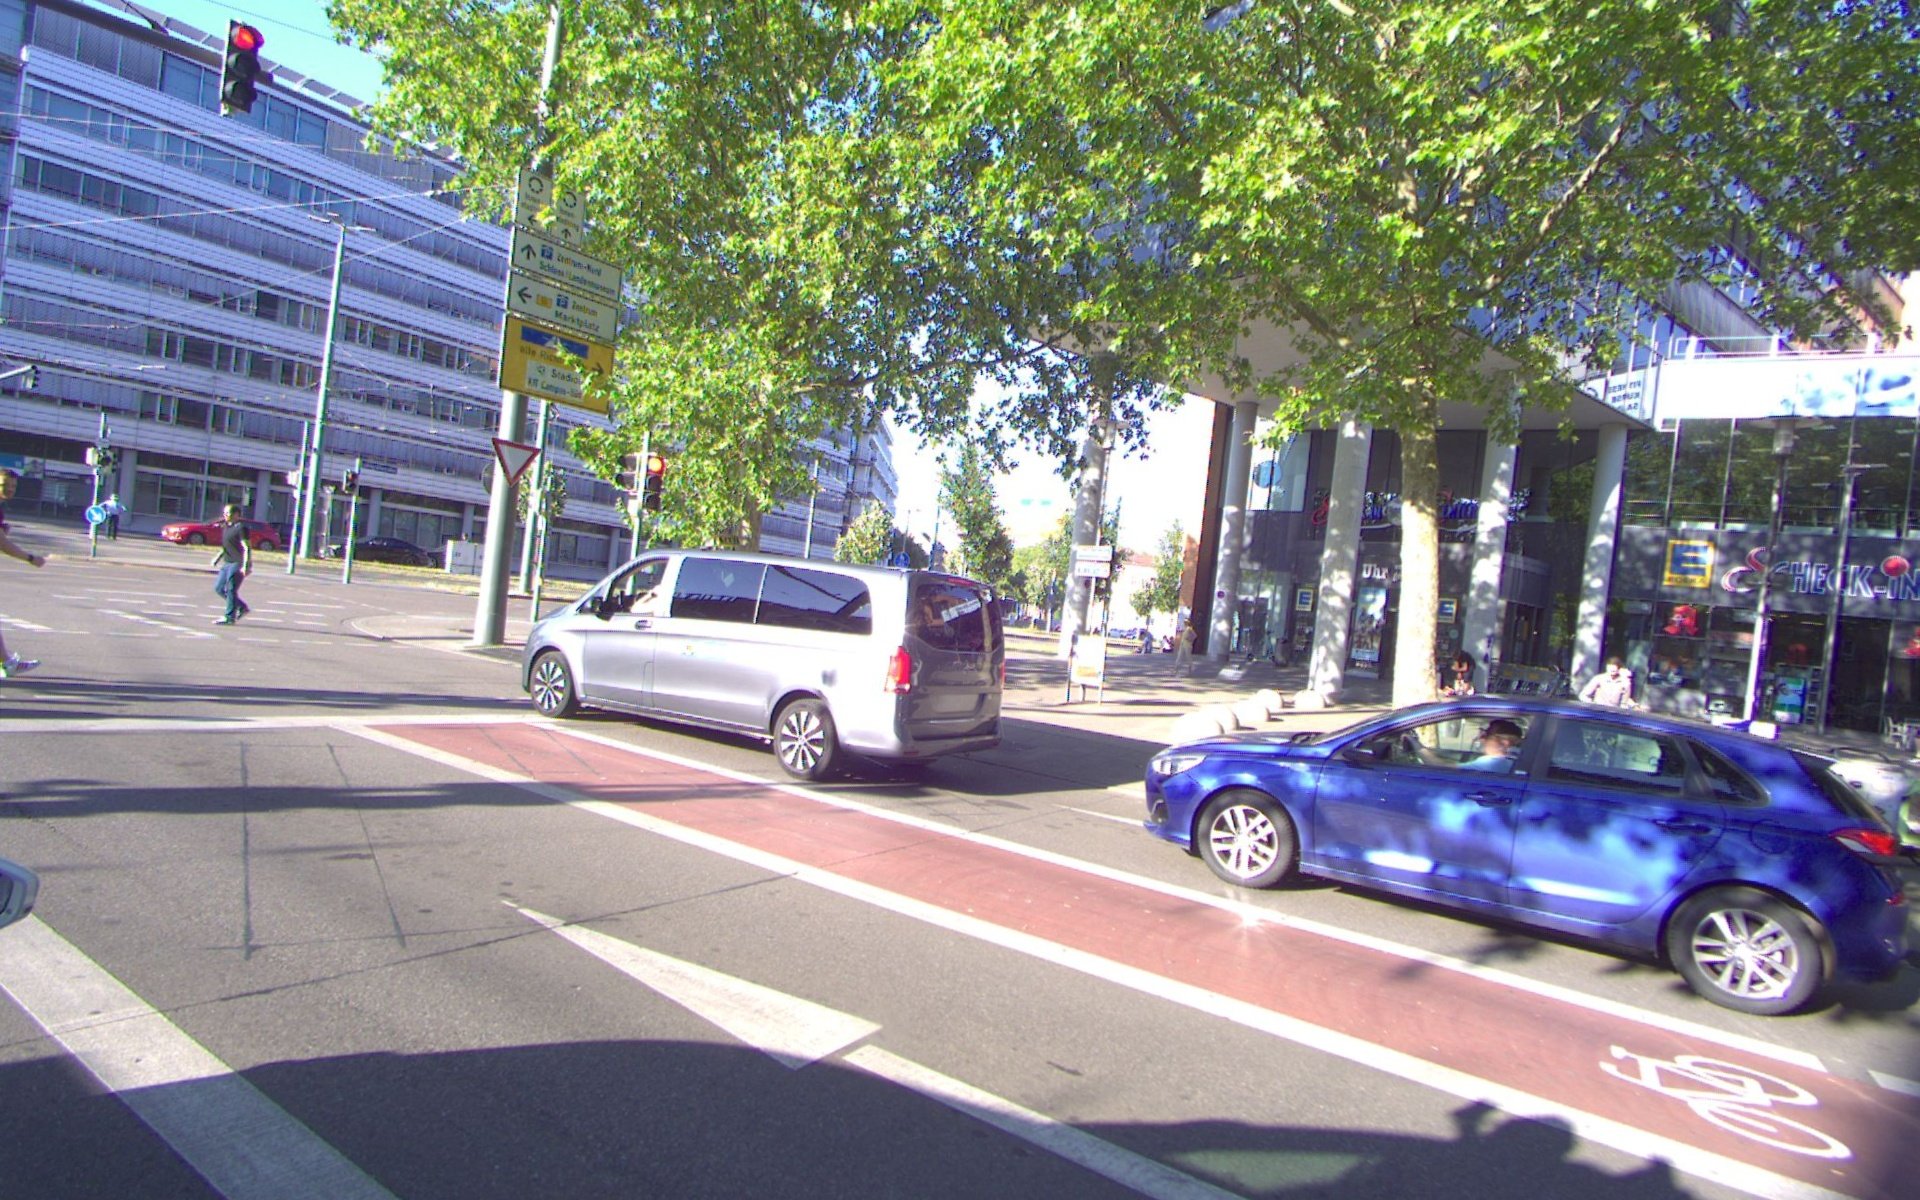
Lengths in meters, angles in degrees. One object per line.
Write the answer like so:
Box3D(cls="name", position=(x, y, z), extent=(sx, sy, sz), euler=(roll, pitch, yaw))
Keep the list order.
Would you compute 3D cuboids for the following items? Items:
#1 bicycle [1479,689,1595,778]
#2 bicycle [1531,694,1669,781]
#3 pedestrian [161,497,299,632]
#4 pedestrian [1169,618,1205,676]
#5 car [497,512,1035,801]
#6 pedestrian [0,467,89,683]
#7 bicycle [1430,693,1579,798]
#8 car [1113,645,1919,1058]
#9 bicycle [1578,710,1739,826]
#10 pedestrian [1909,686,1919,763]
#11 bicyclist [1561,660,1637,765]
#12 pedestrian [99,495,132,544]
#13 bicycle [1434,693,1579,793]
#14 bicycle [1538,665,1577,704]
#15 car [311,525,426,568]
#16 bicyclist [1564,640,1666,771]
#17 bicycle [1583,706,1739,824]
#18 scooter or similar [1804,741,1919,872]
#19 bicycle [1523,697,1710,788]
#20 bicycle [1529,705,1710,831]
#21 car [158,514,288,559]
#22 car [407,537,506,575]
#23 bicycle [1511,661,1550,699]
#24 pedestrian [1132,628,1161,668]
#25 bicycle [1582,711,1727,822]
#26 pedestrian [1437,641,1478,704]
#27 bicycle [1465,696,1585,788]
Box3D(cls="bicycle", position=(8.282, 1.897, 14.477), extent=(0.393, 1.039, 1.305), euler=(5, 1, -42))
Box3D(cls="bicycle", position=(10.703, 2.279, 16.869), extent=(0.564, 1.140, 1.757), euler=(5, 1, -43))
Box3D(cls="pedestrian", position=(-11.082, -0.524, 15.301), extent=(1.023, 1.844, 1.212), euler=(6, -1, 26))
Box3D(cls="pedestrian", position=(6.888, 1.429, 30.510), extent=(0.694, 1.662, 0.774), euler=(7, 1, 27))
Box3D(cls="car", position=(-2.056, 0.412, 9.972), extent=(5.052, 1.989, 1.997), euler=(7, -1, 32))
Box3D(cls="pedestrian", position=(-8.017, -0.225, 8.221), extent=(0.617, 1.736, 1.075), euler=(6, 0, 28))
Box3D(cls="bicycle", position=(6.888, 1.817, 12.782), extent=(1.545, 1.039, 0.461), euler=(7, 1, 29))
Box3D(cls="car", position=(3.342, 1.303, 6.619), extent=(4.146, 1.483, 1.767), euler=(7, 1, 30))
Box3D(cls="bicycle", position=(8.317, 1.977, 12.042), extent=(1.452, 1.095, 0.421), euler=(7, 1, 30))
Box3D(cls="pedestrian", position=(23.882, 3.087, 24.441), extent=(0.990, 1.867, 0.844), euler=(6, 1, -33))
Box3D(cls="bicyclist", position=(10.719, 1.875, 16.882), extent=(0.560, 1.637, 0.811), euler=(5, 2, -43))
Box3D(cls="pedestrian", position=(-31.729, -3.024, 37.783), extent=(0.549, 1.702, 0.719), euler=(7, 0, 39))
Box3D(cls="bicycle", position=(7.163, 1.855, 13.243), extent=(1.545, 1.039, 0.461), euler=(7, 1, 29))
Box3D(cls="bicycle", position=(19.351, 2.739, 32.556), extent=(0.709, 1.142, 1.911), euler=(7, 1, 39))
Box3D(cls="car", position=(-27.717, -2.487, 47.268), extent=(1.768, 1.410, 4.240), euler=(7, 0, 36))
Box3D(cls="bicyclist", position=(9.657, 1.546, 14.857), extent=(0.744, 1.790, 0.845), euler=(5, 2, -30))
Box3D(cls="bicycle", position=(8.716, 2.031, 12.566), extent=(1.452, 1.174, 0.421), euler=(7, 1, 30))
Box3D(cls="scooter or similar", position=(9.473, 2.095, 10.226), extent=(0.899, 1.155, 1.259), euler=(5, -3, 18))
Box3D(cls="bicycle", position=(9.617, 2.068, 14.847), extent=(0.661, 0.945, 2.167), euler=(6, 0, -31))
Box3D(cls="bicycle", position=(7.319, 1.830, 11.200), extent=(1.548, 1.070, 0.627), euler=(7, 1, 38))
Box3D(cls="car", position=(-32.662, -2.803, 44.691), extent=(1.767, 1.410, 4.242), euler=(7, 0, 34))
Box3D(cls="car", position=(-26.553, -2.297, 53.174), extent=(1.768, 1.452, 4.239), euler=(7, 0, 36))
Box3D(cls="bicycle", position=(18.736, 2.635, 33.036), extent=(0.709, 1.142, 1.911), euler=(7, 1, 39))
Box3D(cls="pedestrian", position=(7.399, 1.908, 39.965), extent=(0.763, 1.461, 0.704), euler=(7, 1, 34))
Box3D(cls="bicycle", position=(9.135, 2.164, 13.292), extent=(1.452, 1.174, 0.421), euler=(7, 1, 33))
Box3D(cls="pedestrian", position=(14.139, 2.041, 28.587), extent=(0.851, 1.662, 0.966), euler=(7, 1, 28))
Box3D(cls="bicycle", position=(7.896, 1.966, 14.096), extent=(0.393, 1.039, 1.305), euler=(5, 1, -42))
